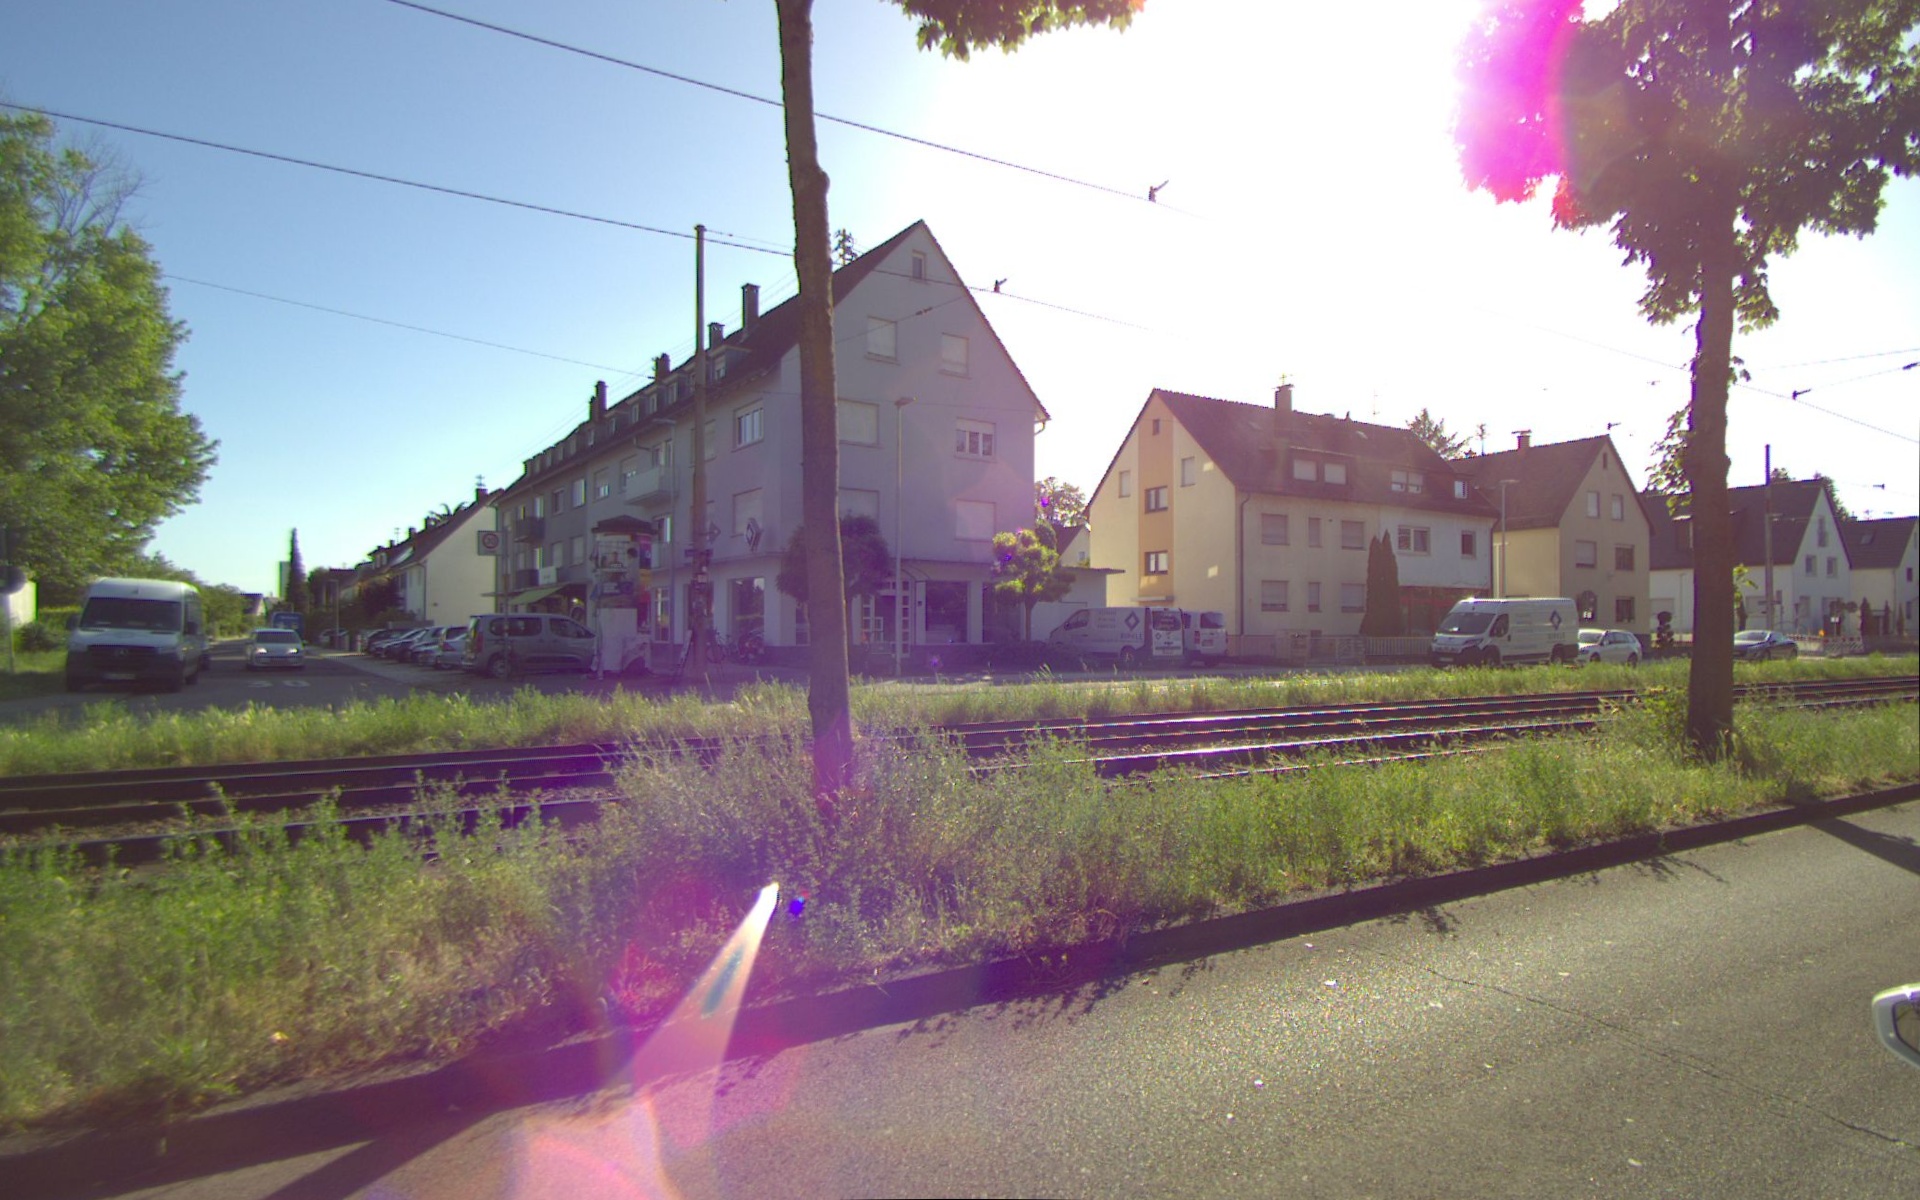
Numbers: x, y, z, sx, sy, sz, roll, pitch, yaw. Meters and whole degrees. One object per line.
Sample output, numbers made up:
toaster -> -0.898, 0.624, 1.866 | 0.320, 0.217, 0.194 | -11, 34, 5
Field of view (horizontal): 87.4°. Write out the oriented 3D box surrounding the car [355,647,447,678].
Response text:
car -> -25.852, 2.862, 46.483 | 3.595, 1.334, 1.519 | 2, -1, -36

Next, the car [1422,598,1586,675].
car -> 19.227, 1.277, 35.353 | 6.598, 2.492, 1.984 | 2, -1, -31

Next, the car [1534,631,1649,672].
car -> 24.054, 1.950, 38.202 | 4.604, 1.431, 1.815 | 2, -1, -31

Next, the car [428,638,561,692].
car -> -15.021, 2.044, 32.463 | 3.596, 1.511, 1.782 | -1, -1, -37

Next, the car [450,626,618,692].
car -> -12.067, 1.639, 28.579 | 4.065, 1.692, 1.781 | 2, -1, -39

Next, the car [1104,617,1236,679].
car -> 7.172, 1.595, 34.599 | 1.984, 1.978, 4.103 | 1, -1, -40

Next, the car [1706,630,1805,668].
car -> 35.800, 2.168, 45.197 | 4.444, 1.603, 1.984 | 1, 0, -30

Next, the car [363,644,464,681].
car -> -23.272, 2.639, 42.823 | 3.596, 1.484, 1.518 | 1, -2, -36

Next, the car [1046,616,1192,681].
car -> 5.151, 1.520, 33.081 | 1.984, 1.971, 4.579 | 1, -1, -40

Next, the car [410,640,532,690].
car -> -17.243, 2.258, 35.494 | 3.597, 1.612, 1.782 | 2, -1, -37

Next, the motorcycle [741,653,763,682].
motorcycle -> -6.361, 2.062, 30.743 | 0.309, 0.863, 0.884 | 1, -2, -37

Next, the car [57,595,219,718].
car -> -19.635, 1.190, 24.352 | 2.306, 2.541, 7.023 | 1, -1, -34

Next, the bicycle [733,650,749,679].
bicycle -> -6.865, 2.016, 31.499 | 0.190, 0.863, 0.751 | 1, -2, -37

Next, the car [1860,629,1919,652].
car -> 67.365, 2.901, 71.764 | 1.917, 1.483, 4.188 | 2, -1, -33

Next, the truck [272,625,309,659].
truck -> -45.603, 2.853, 68.419 | 1.980, 2.117, 4.088 | 2, -1, -35

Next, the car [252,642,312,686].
car -> -24.892, 2.305, 36.908 | 1.732, 1.497, 3.592 | 1, -2, -34

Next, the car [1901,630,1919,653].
car -> 71.762, 3.077, 73.454 | 1.979, 1.691, 3.963 | 2, -1, -33

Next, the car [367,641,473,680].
car -> -21.630, 2.401, 40.266 | 3.595, 1.468, 1.519 | 1, -2, -36
